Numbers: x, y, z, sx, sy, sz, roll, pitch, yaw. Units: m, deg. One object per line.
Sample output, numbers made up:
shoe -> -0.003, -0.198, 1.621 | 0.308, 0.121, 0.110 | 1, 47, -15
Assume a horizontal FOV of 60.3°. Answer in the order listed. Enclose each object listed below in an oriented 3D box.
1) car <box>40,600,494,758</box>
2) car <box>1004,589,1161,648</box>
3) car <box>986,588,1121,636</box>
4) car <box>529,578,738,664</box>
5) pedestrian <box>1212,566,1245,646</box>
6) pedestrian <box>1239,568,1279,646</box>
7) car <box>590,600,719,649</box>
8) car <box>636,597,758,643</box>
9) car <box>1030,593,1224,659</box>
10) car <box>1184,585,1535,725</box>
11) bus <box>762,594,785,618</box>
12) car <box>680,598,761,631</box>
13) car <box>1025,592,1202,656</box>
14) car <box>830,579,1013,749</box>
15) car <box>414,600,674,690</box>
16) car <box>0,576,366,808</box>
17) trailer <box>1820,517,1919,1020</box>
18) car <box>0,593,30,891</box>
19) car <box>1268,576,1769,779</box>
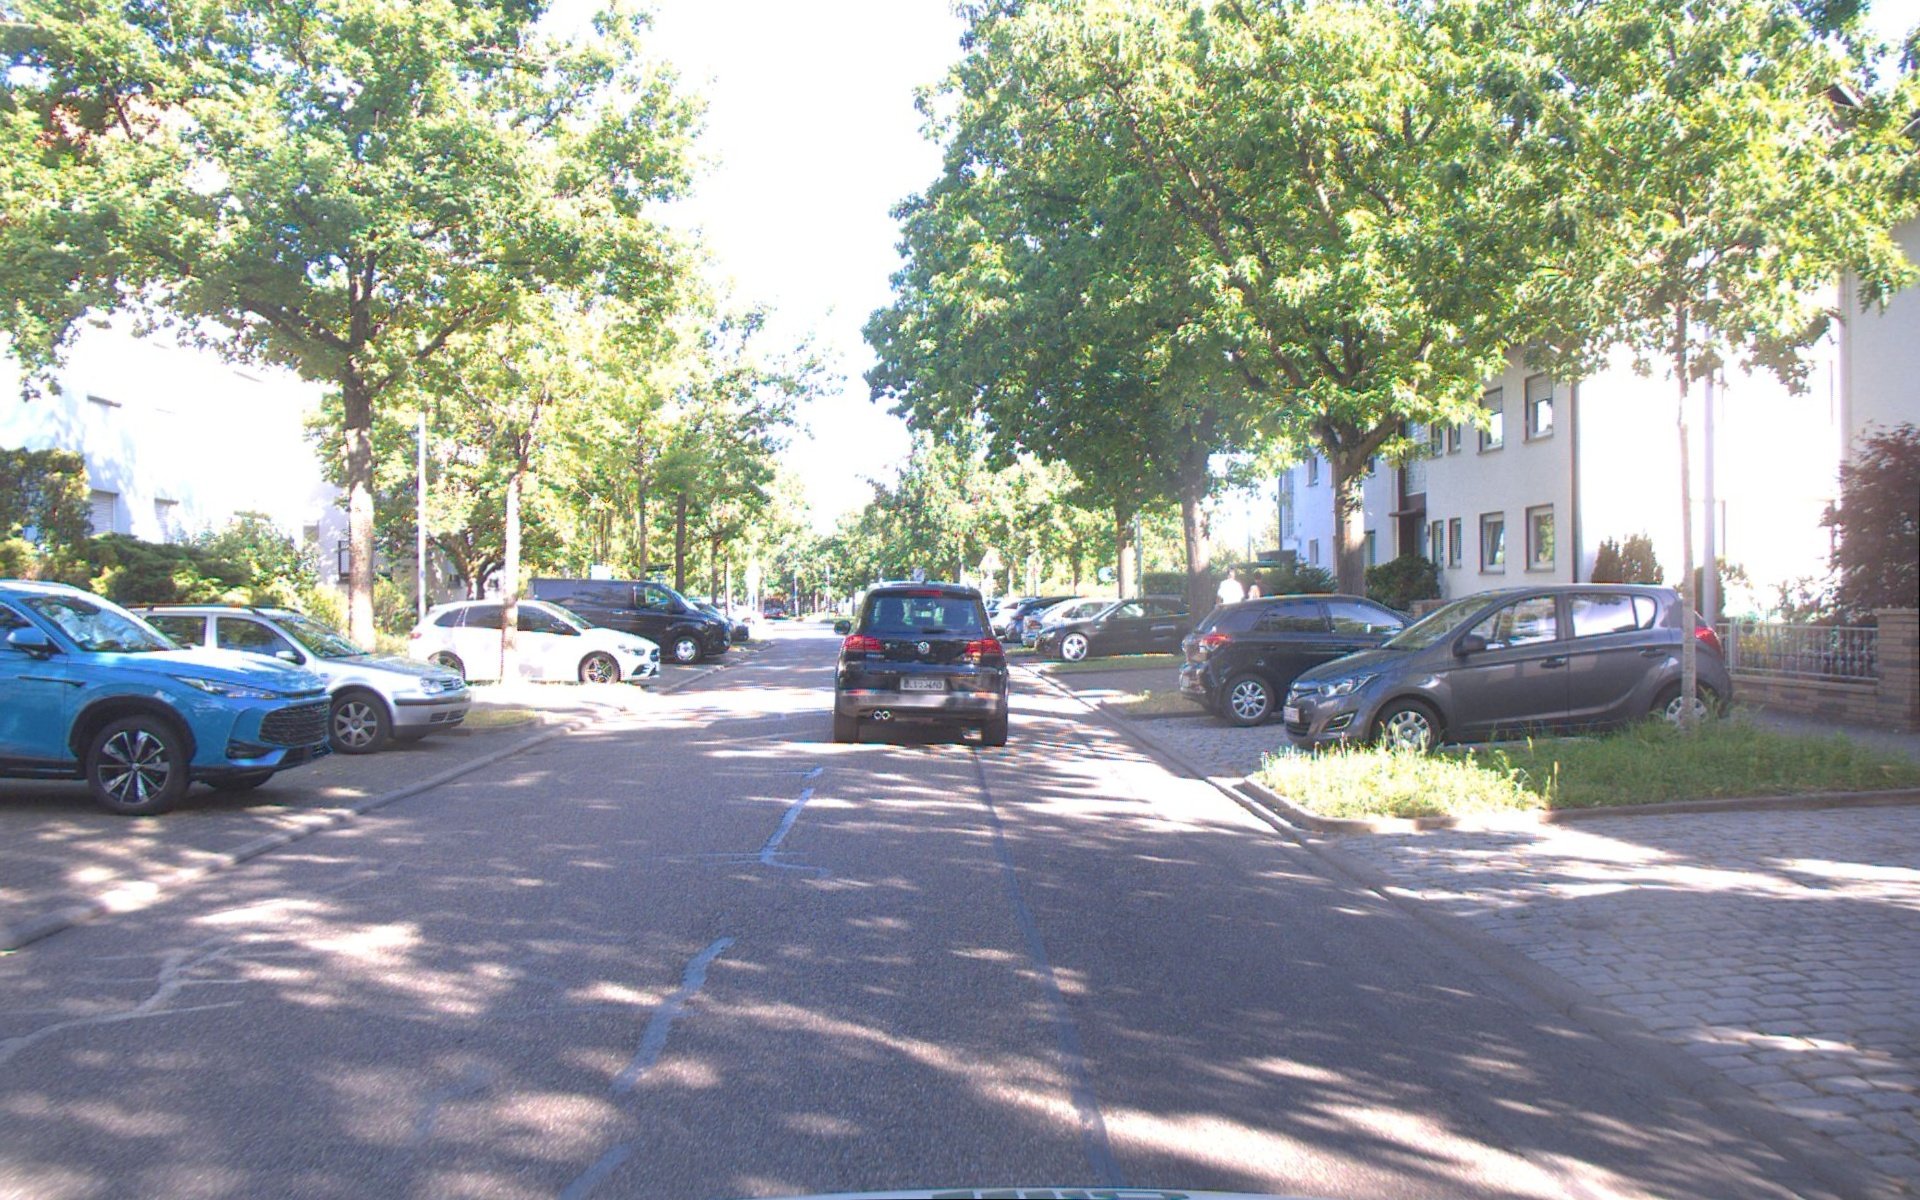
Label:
car -> -7.226, 0.809, 17.535 | 4.097, 1.518, 1.646 | -1, -1, -1
car -> 3.386, 0.505, 46.227 | 4.190, 1.529, 1.796 | -1, 0, -2
car -> 3.057, 0.389, 54.941 | 4.339, 1.517, 1.796 | -1, 0, -2
car -> -7.796, 0.484, 39.855 | 4.684, 1.950, 2.017 | -1, 0, -4
pedestrian -> 6.488, 0.151, 39.982 | 0.595, 1.906, 0.923 | -1, -1, 0
pedestrian -> 7.231, 0.173, 40.005 | 0.818, 1.860, 0.710 | -1, -1, 0
car -> -9.516, 0.744, 51.737 | 3.743, 1.444, 1.771 | -1, 0, -4
car -> -8.697, 0.647, 54.860 | 3.779, 1.484, 1.713 | 0, 0, -2
car -> 3.831, 0.589, 38.475 | 4.259, 1.386, 1.872 | -2, -1, -2
car -> 4.736, 0.643, 19.961 | 3.803, 1.542, 1.660 | -1, -1, -1
bus -> -24.480, 0.799, 217.360 | 2.872, 3.056, 5.729 | -1, -1, -6
car -> -12.774, 0.777, 88.393 | 4.161, 1.651, 1.894 | -1, -1, -7
car -> 3.794, 0.581, 41.276 | 4.190, 1.439, 1.796 | -1, 0, -2
car -> -0.347, 0.629, 18.247 | 1.800, 1.665, 3.958 | 0, 0, 1
car -> -7.351, 0.770, 29.514 | 4.189, 1.504, 1.768 | -1, 0, -2
car -> -7.175, 0.669, 12.801 | 4.432, 1.660, 1.937 | 0, -1, -1
trailer -> 4.681, 0.494, 5.372 | 2.890, 1.693, 1.612 | -3, -1, -7
car -> -7.179, 0.799, 8.337 | 3.906, 1.623, 1.857 | -1, -1, -1
car -> 4.946, 0.662, 14.978 | 3.909, 1.652, 1.755 | -1, -1, -5
